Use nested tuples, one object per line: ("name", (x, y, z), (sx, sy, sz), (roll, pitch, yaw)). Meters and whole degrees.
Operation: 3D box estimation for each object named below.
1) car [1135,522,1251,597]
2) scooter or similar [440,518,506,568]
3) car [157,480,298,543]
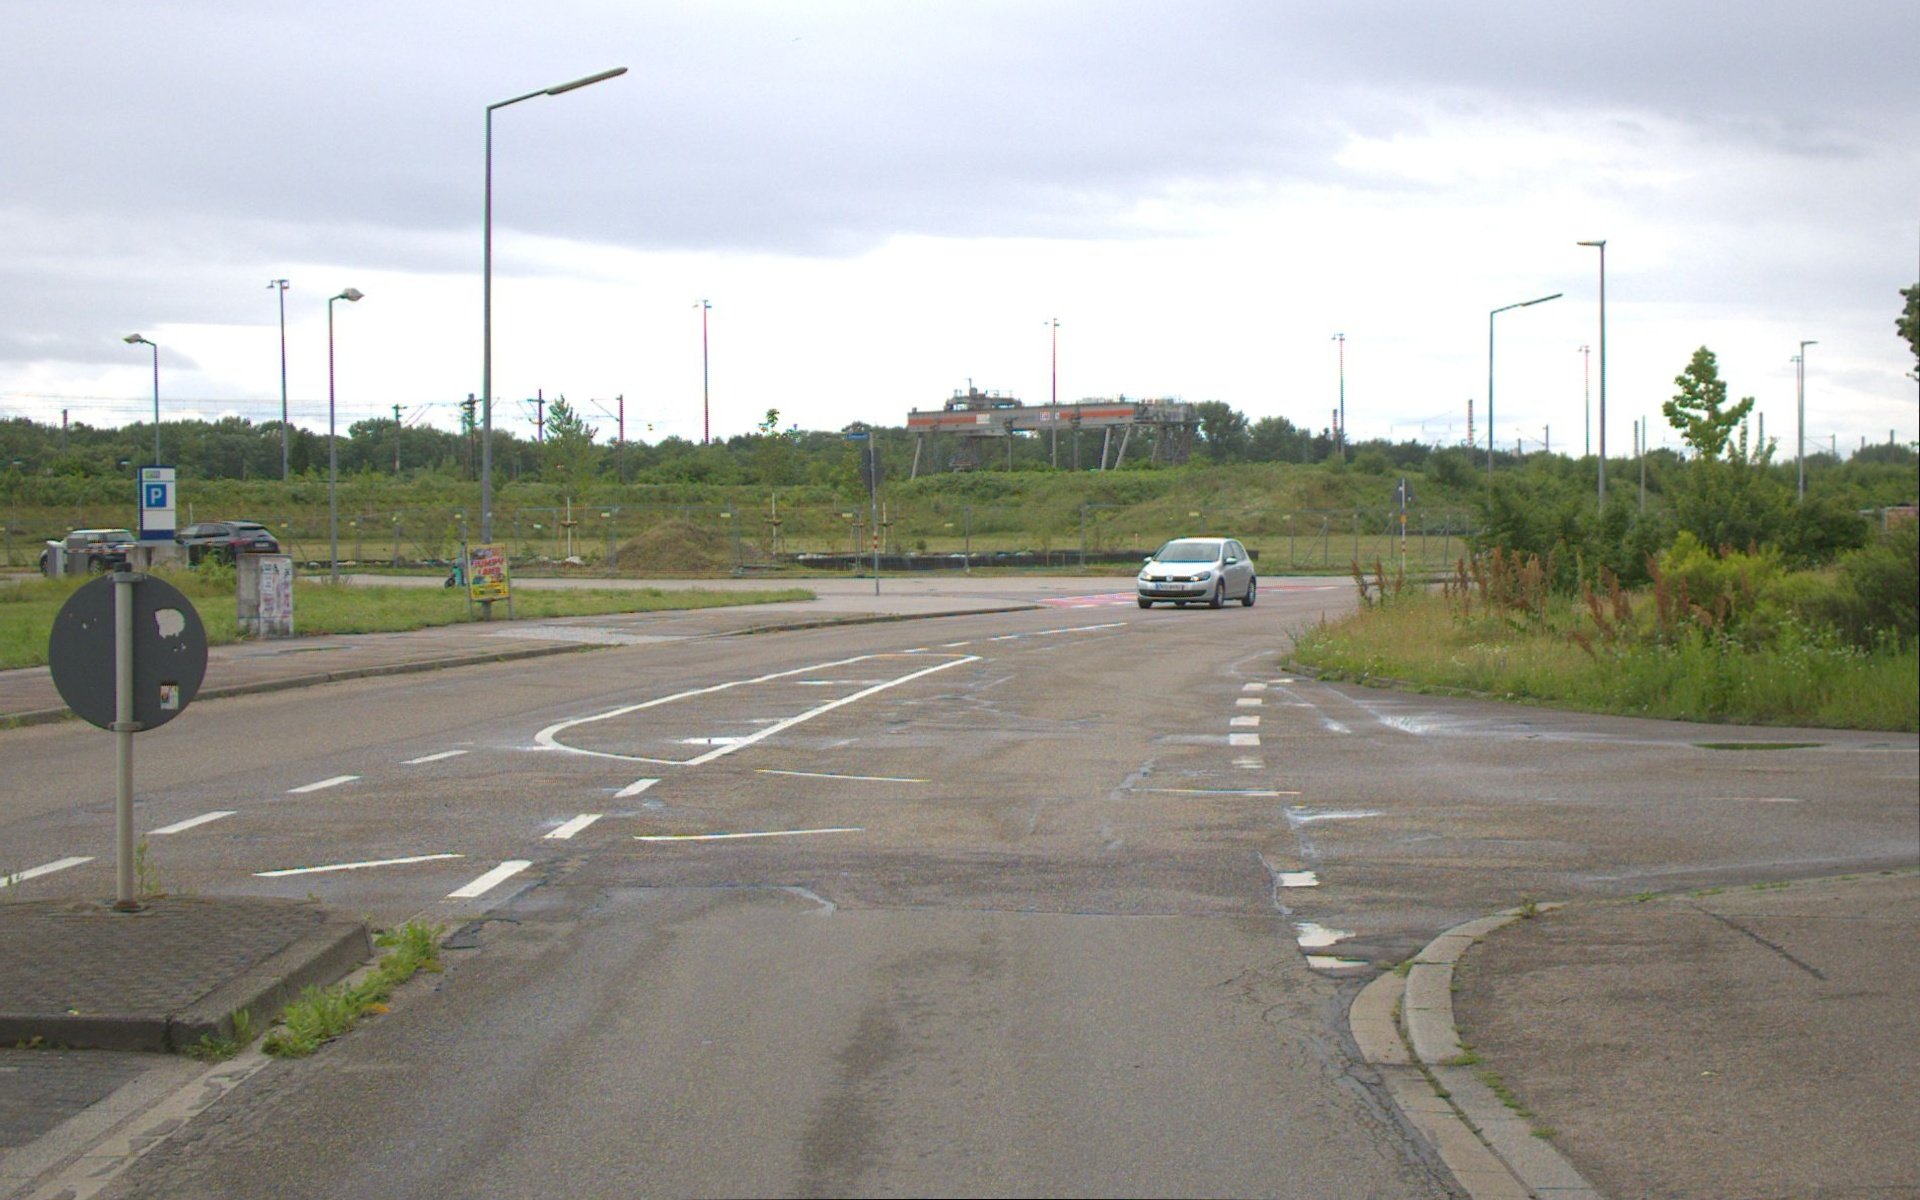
("car", (4.949, -0.881, 72.644), (1.673, 1.456, 4.054), (2, 2, 15))
("scooter or similar", (-11.694, -1.377, 82.537), (1.463, 1.164, 0.571), (1, 2, 12))
("car", (-21.767, -2.643, 102.085), (3.996, 1.816, 1.996), (2, 3, 39))
